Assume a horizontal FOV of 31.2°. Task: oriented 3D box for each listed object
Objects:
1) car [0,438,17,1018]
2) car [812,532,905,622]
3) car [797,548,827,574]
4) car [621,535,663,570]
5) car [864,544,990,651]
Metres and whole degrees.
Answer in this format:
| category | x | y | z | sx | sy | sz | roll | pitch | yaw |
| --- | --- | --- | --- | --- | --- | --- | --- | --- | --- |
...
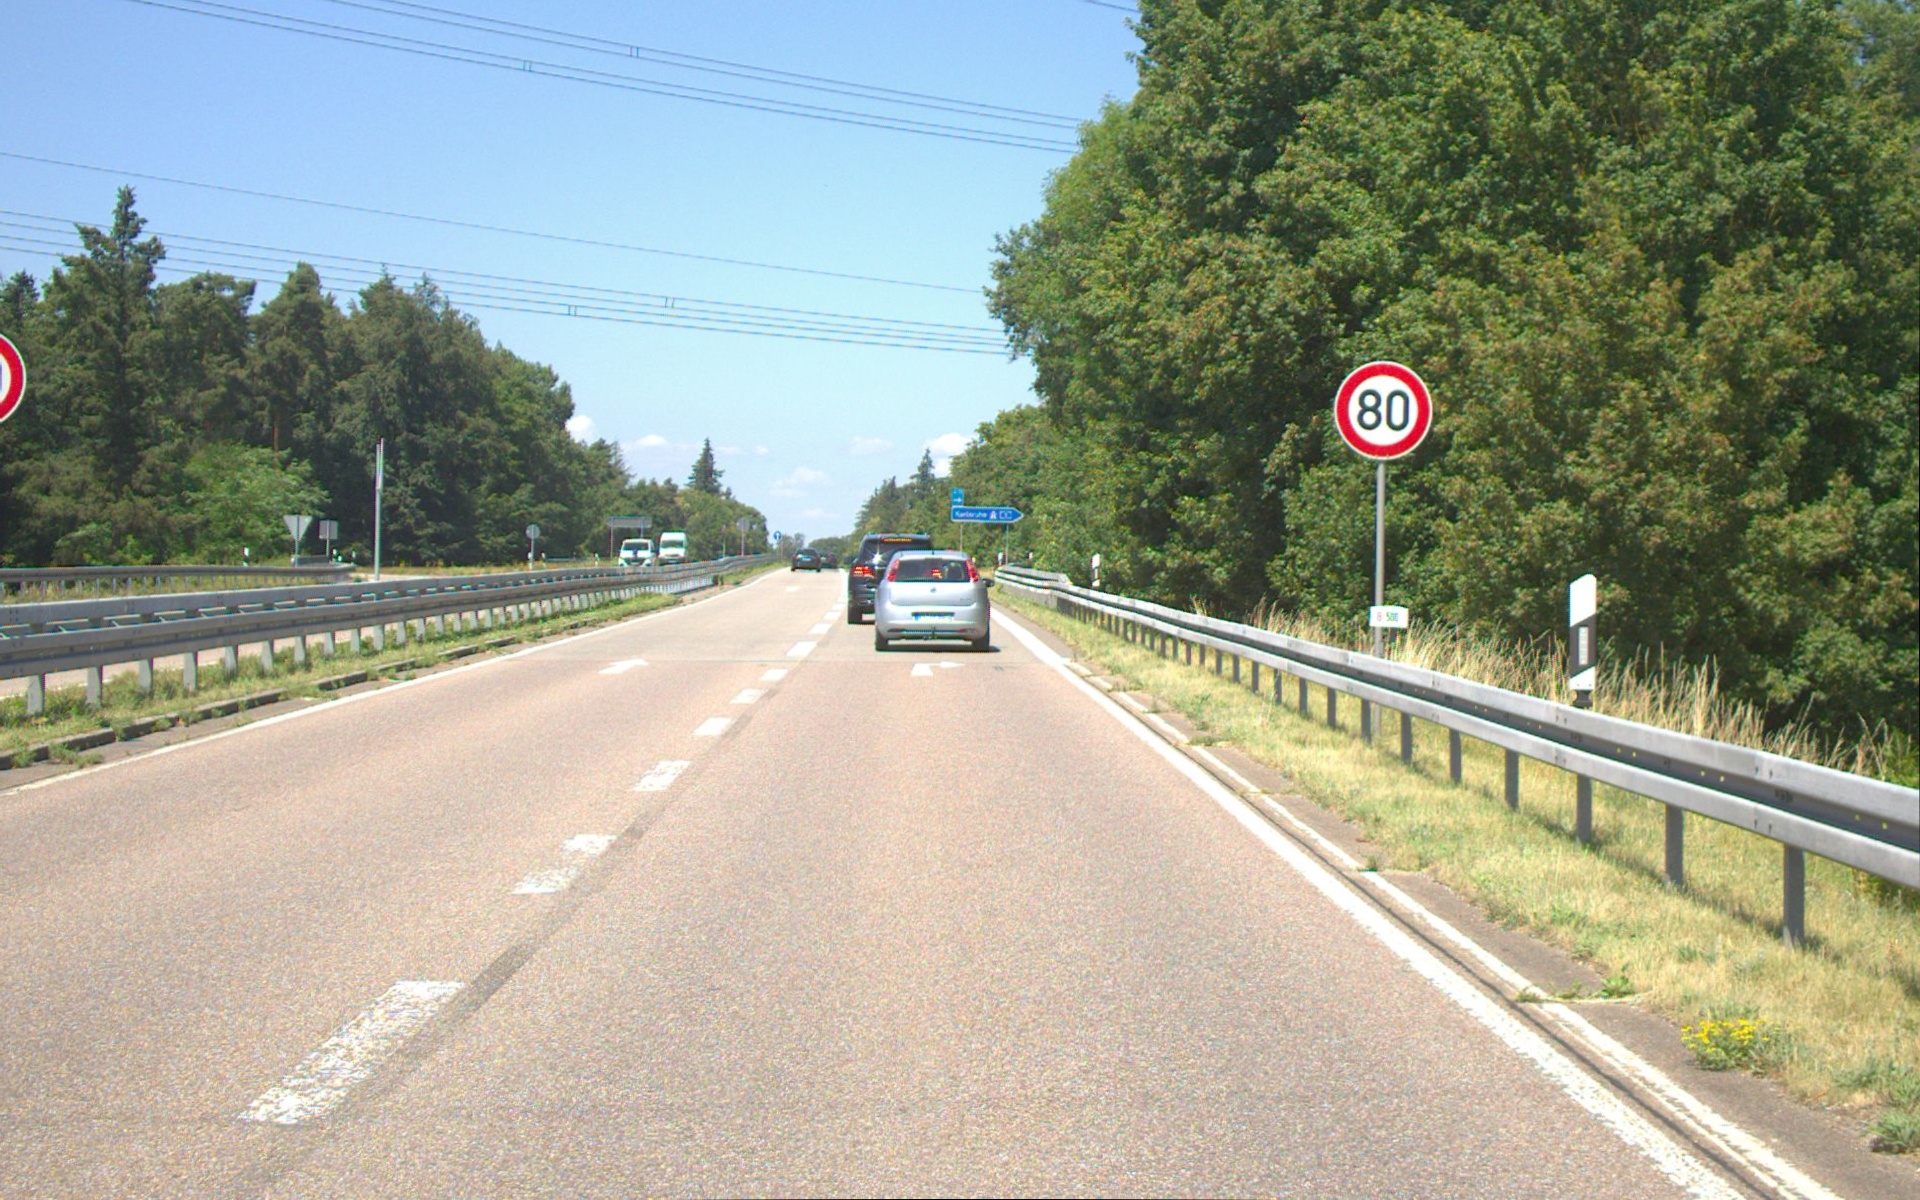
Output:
| category | x | y | z | sx | sy | sz | roll | pitch | yaw |
| --- | --- | --- | --- | --- | --- | --- | --- | --- | --- |
| car | -3.984 | 0.449 | 8.561 | 1.854 | 1.880 | 5.574 | 0 | 1 | -1 |
| car | -1.999 | -0.463 | 66.897 | 1.640 | 1.648 | 3.574 | 3 | 1 | -3 |
| car | -8.949 | -2.378 | 208.369 | 1.712 | 1.466 | 3.574 | 3 | 1 | -2 |
| car | -18.516 | -2.756 | 200.267 | 1.891 | 1.985 | 5.533 | 0 | 1 | 1 |
| car | -0.511 | -0.060 | 50.754 | 1.640 | 1.463 | 3.419 | 3 | 1 | -3 |
